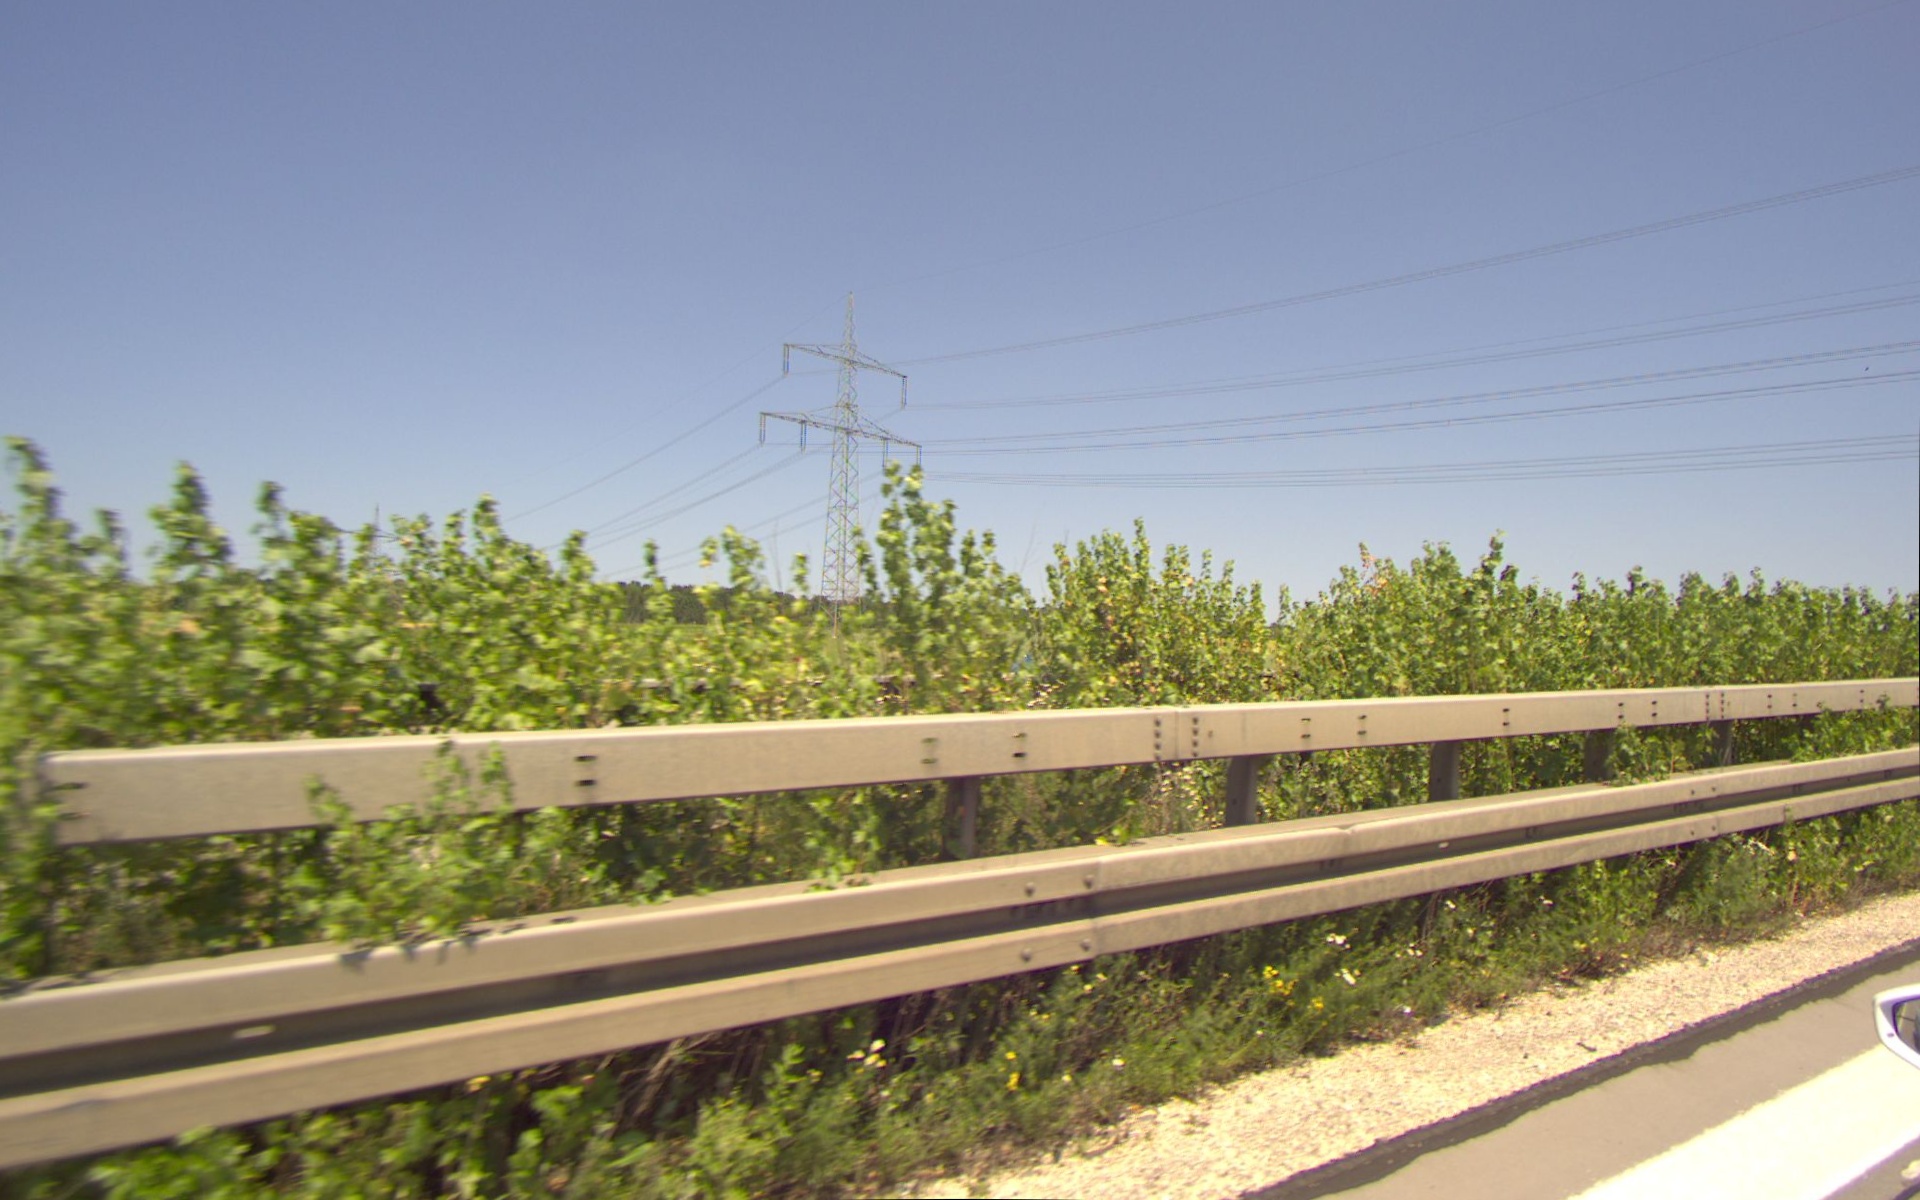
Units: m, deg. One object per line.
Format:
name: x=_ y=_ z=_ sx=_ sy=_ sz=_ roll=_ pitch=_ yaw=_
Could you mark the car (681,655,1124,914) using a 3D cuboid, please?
car: x=-0.441 y=1.351 z=8.411 sx=3.317 sy=1.679 sz=1.589 roll=2 pitch=0 yaw=-31
